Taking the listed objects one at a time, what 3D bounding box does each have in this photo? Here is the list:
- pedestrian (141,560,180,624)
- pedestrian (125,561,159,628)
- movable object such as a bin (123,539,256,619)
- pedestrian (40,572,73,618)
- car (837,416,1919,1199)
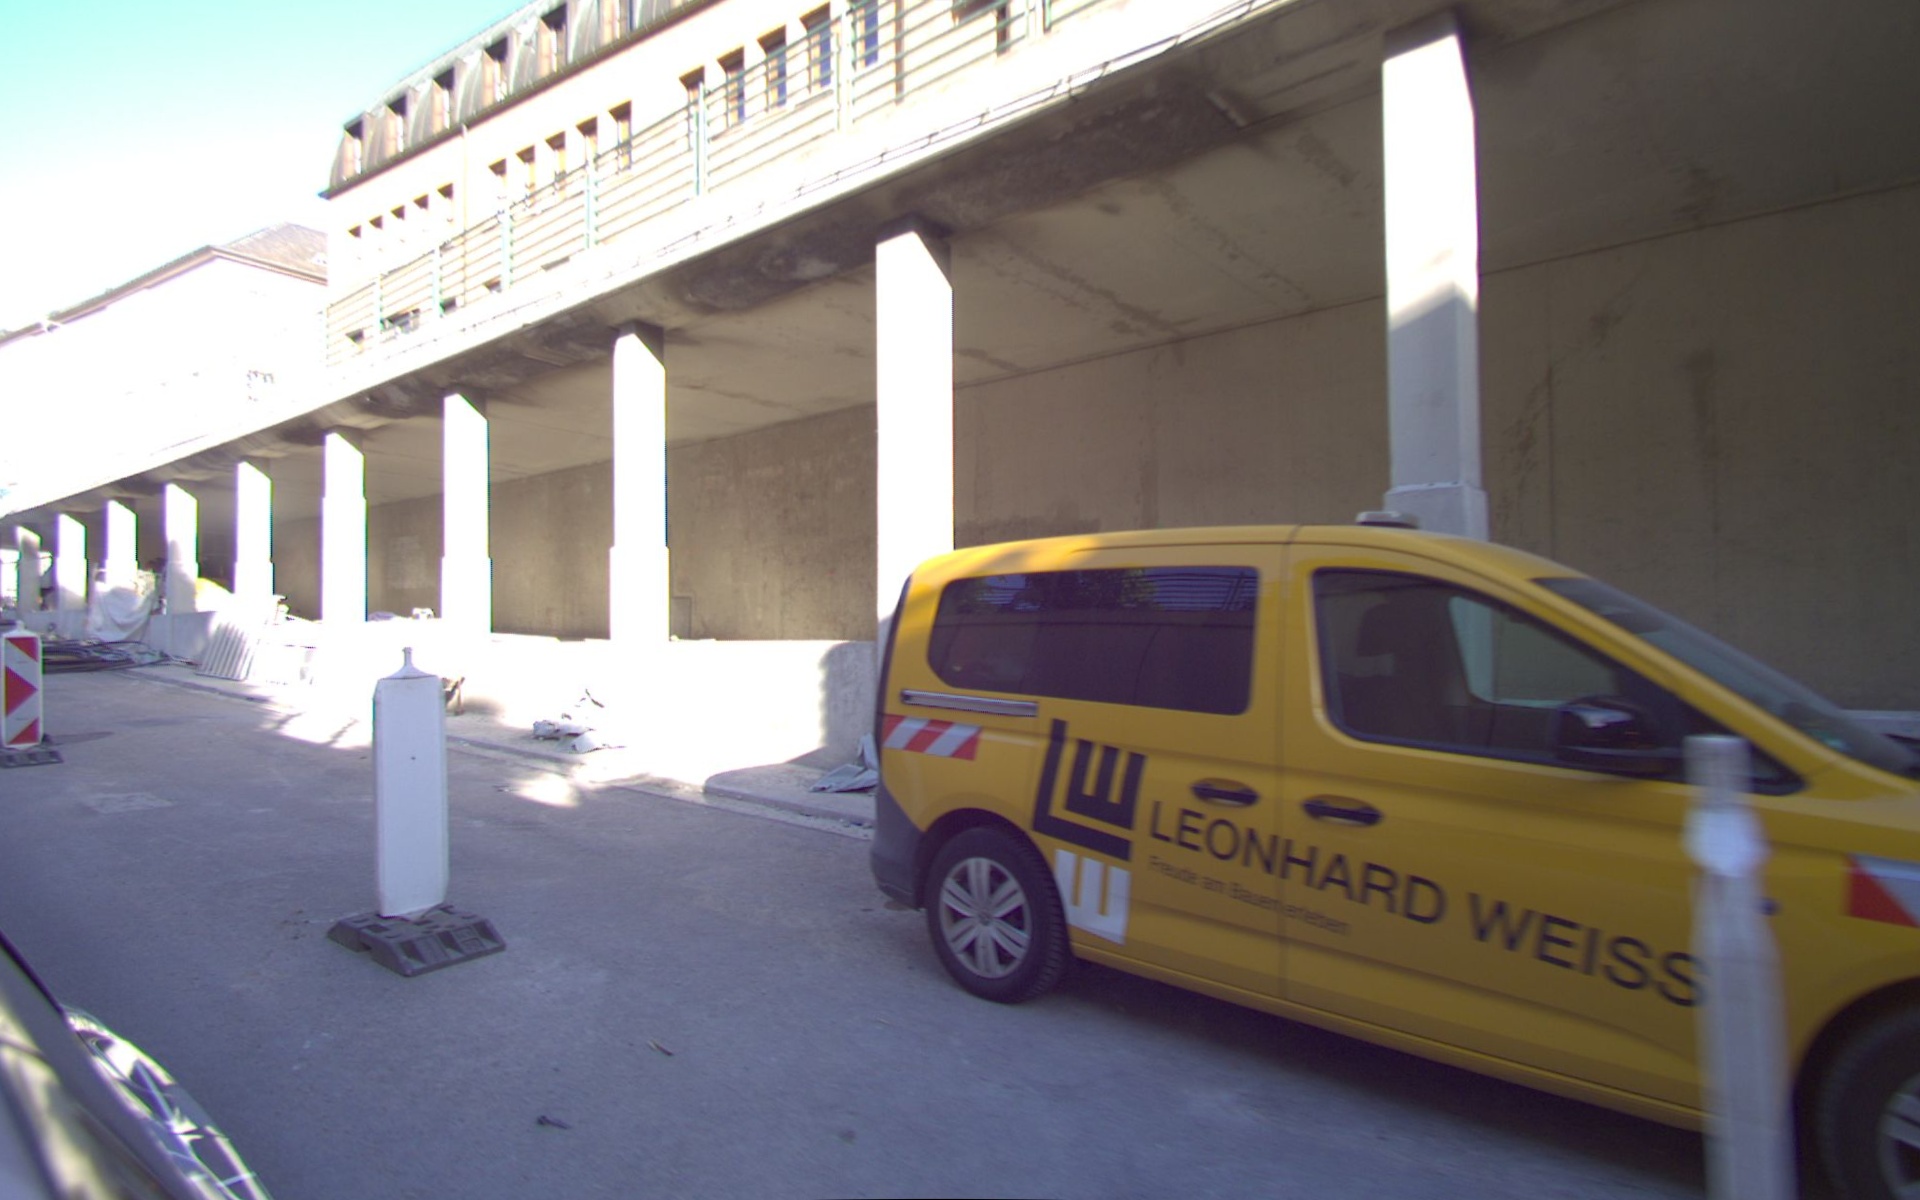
[{"bbox_3d":[-23.195,-0.239,29.355,0.708,1.828,0.698,1,1,33],"label":"pedestrian"},{"bbox_3d":[-22.836,-0.156,28.239,0.624,1.818,0.650,2,1,43],"label":"pedestrian"},{"bbox_3d":[-20.622,-0.547,27.082,3.149,2.002,1.870,1,0,33],"label":"movable object such as a bin"},{"bbox_3d":[-32.314,-0.178,36.201,0.627,1.591,0.645,2,0,25],"label":"pedestrian"},{"bbox_3d":[1.757,0.541,3.456,4.432,1.789,1.829,-1,-1,41],"label":"car"}]
